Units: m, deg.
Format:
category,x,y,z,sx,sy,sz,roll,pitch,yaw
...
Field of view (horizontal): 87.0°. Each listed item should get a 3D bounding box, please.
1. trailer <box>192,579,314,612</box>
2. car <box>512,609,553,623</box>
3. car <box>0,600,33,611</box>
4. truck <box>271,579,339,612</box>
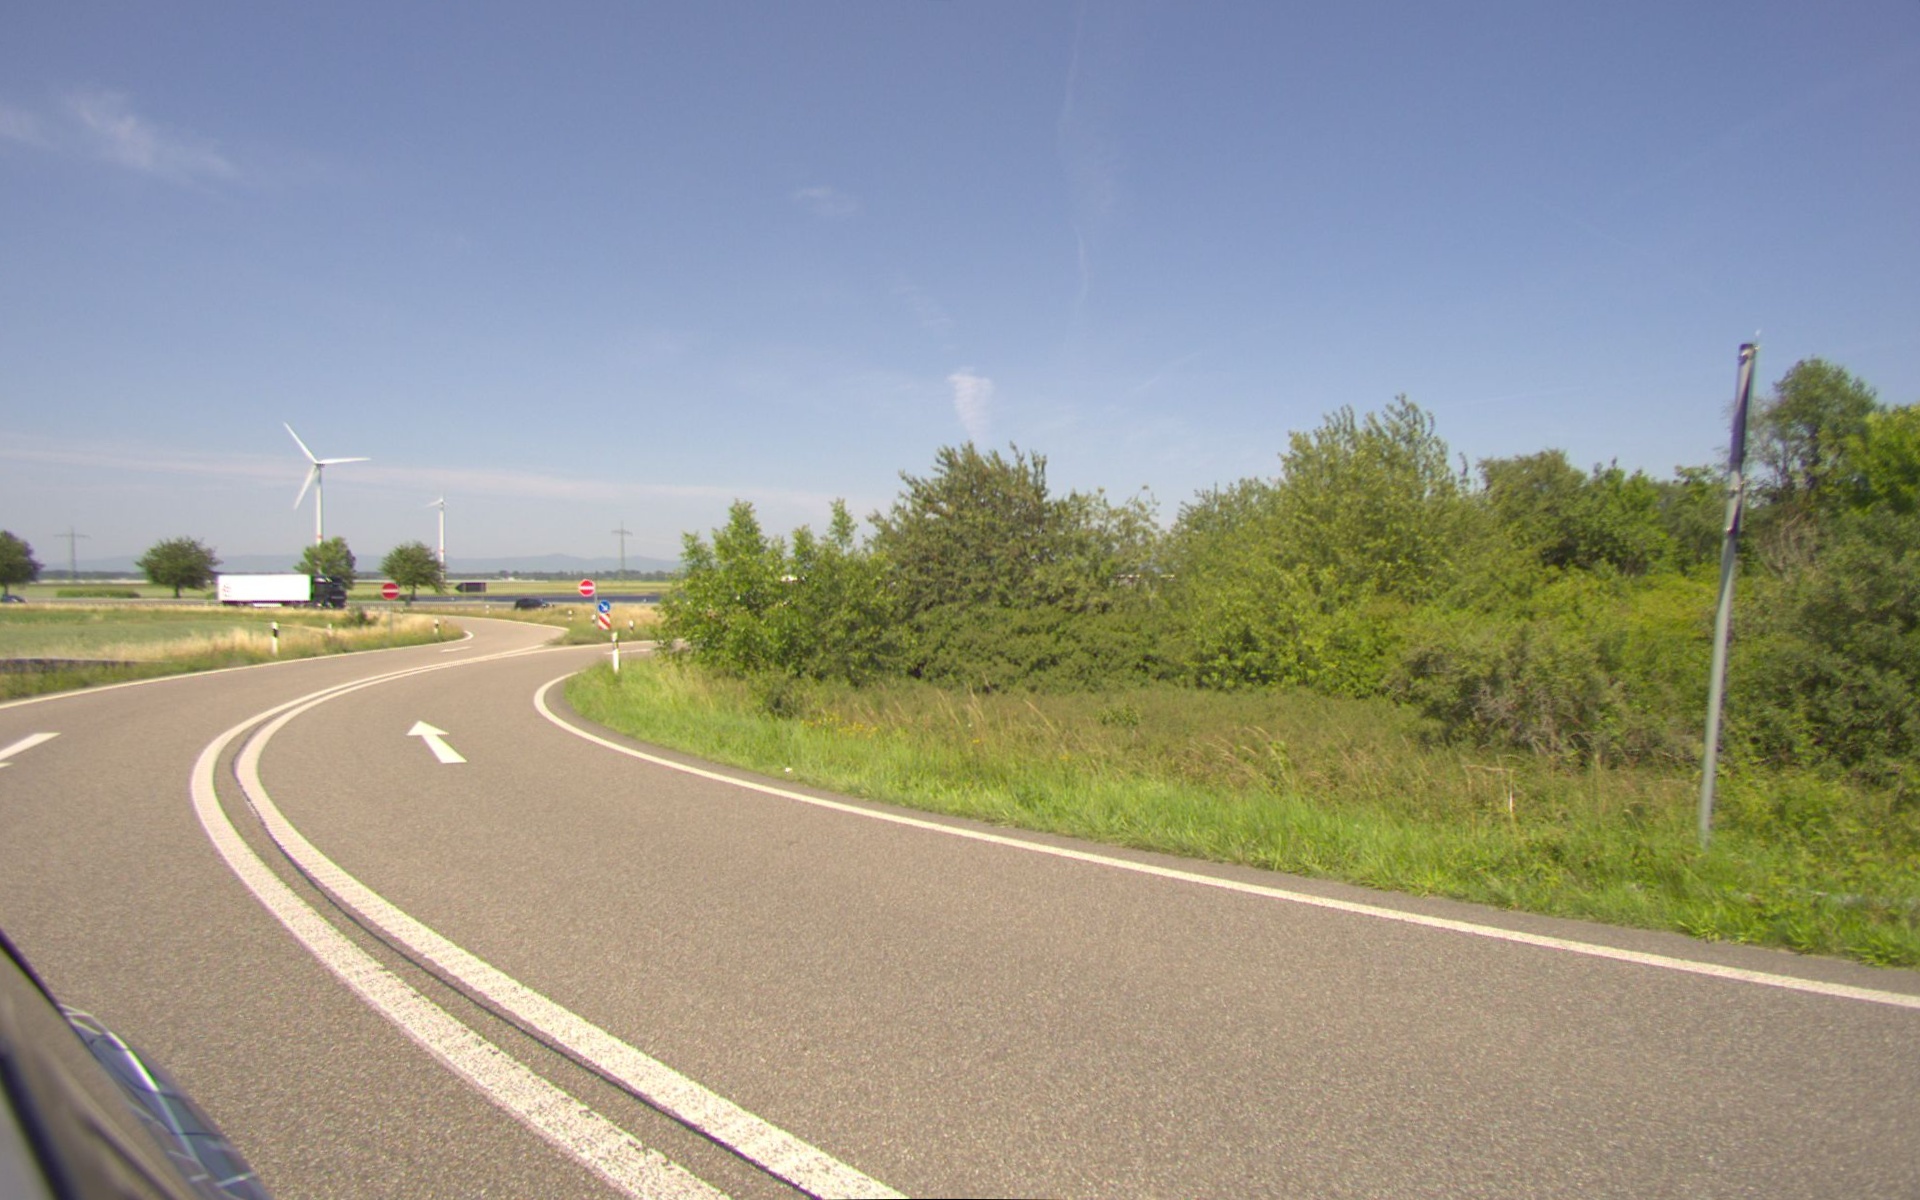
category,x,y,z,sx,sy,sz,roll,pitch,yaw
trailer,-81.040,-0.536,115.903,14.382,3.672,3.087,1,0,16
car,-46.293,1.705,109.683,3.966,1.364,1.672,1,0,18
car,-128.464,0.763,137.645,3.964,1.364,1.673,1,0,16
truck,-73.637,-0.495,113.835,6.179,3.544,3.100,1,0,15
